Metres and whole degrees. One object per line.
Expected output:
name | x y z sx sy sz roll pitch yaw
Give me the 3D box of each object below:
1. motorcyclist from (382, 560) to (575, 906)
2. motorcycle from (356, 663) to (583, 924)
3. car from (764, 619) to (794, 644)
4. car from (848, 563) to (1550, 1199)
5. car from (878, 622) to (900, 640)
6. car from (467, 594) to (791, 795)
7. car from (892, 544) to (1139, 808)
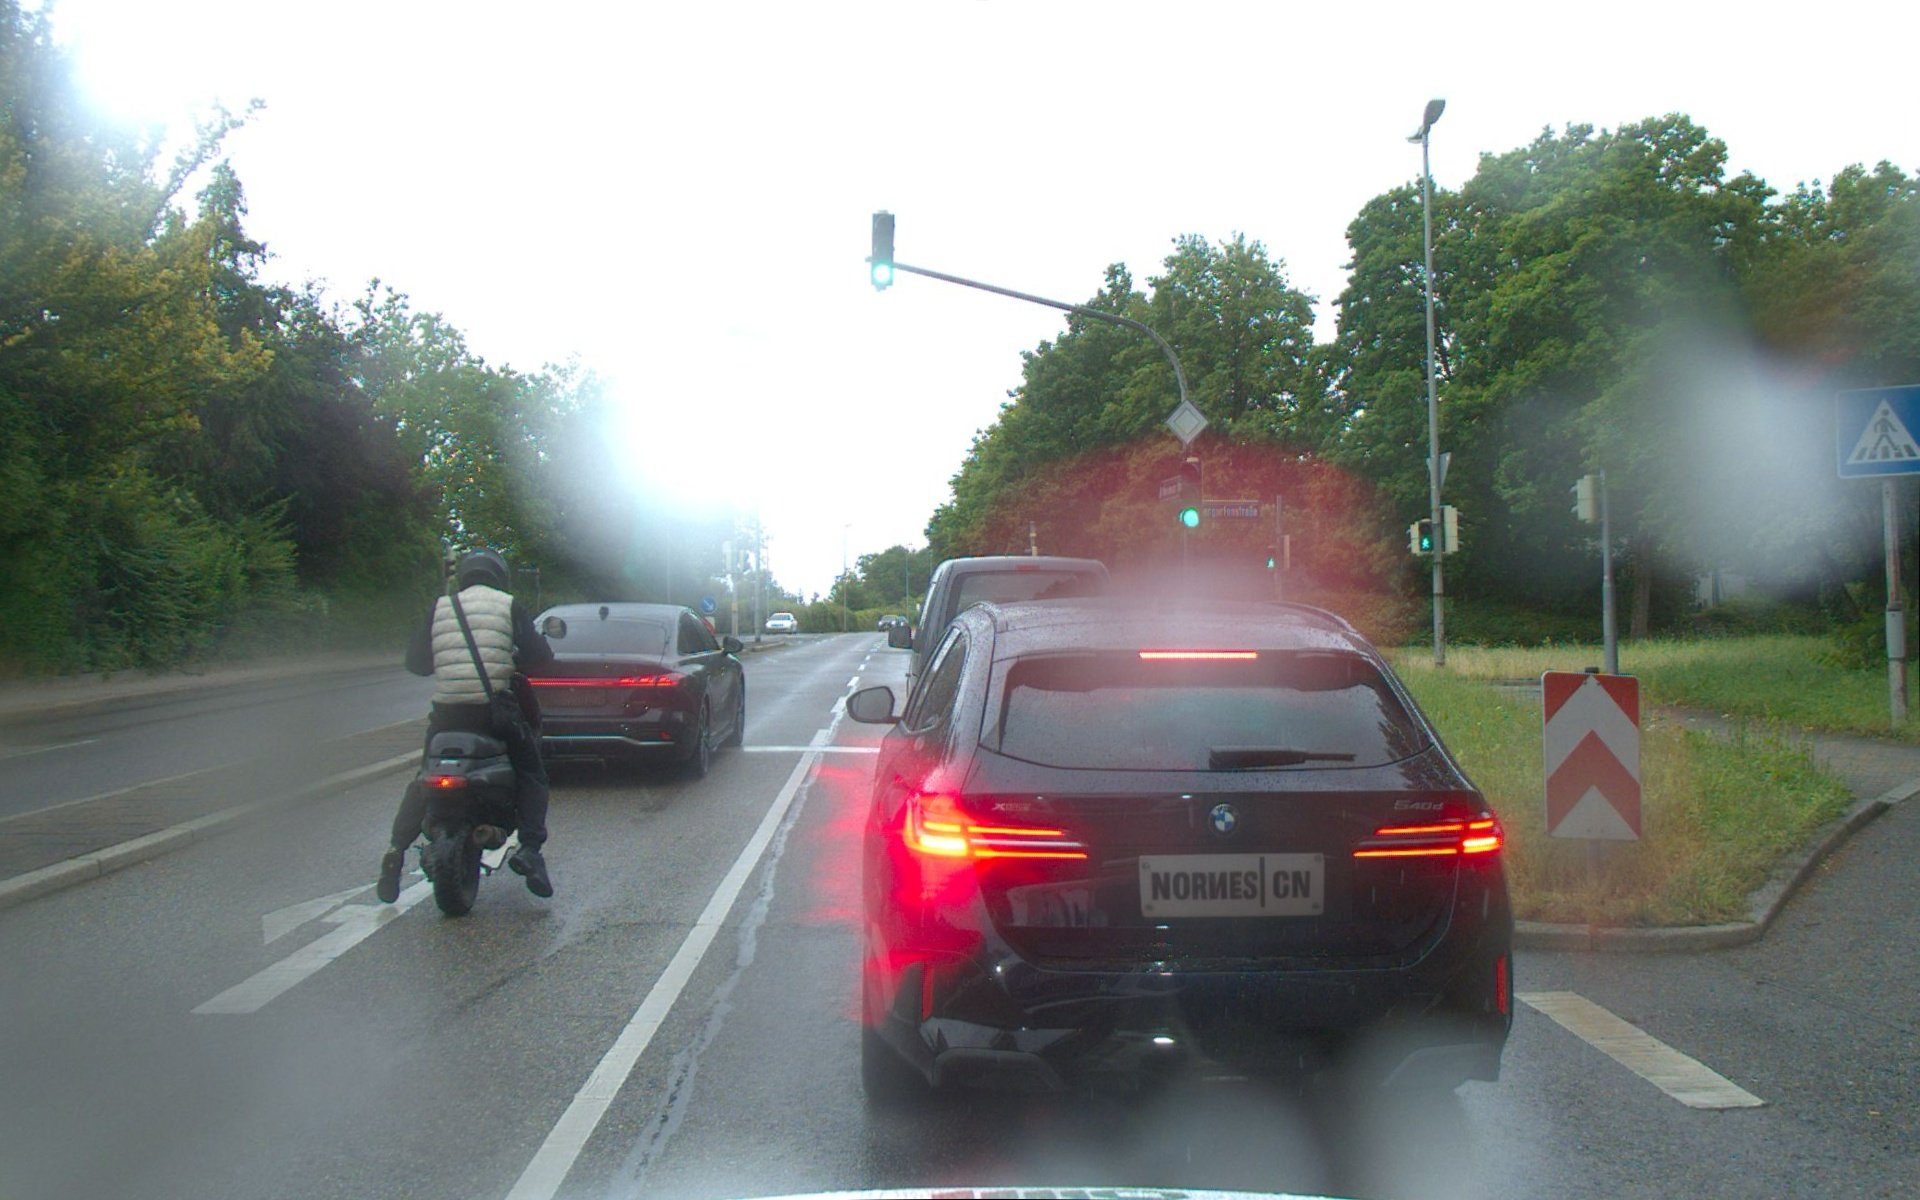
motorcyclist | -2.392 0.643 8.270 0.828 1.676 0.468 0 0 -1
motorcycle | -2.432 0.924 8.363 0.726 1.139 1.426 1 0 -1
car | -12.422 2.142 113.510 1.693 1.511 4.155 -2 0 -2
car | 0.570 0.711 5.912 1.728 1.563 3.672 0 0 -1
car | -6.632 2.859 154.102 1.984 1.590 3.875 -2 0 -2
car | -2.668 0.693 14.448 1.974 1.440 4.485 0 1 -1
car | 0.366 0.518 13.605 1.731 1.841 3.905 0 0 -1
